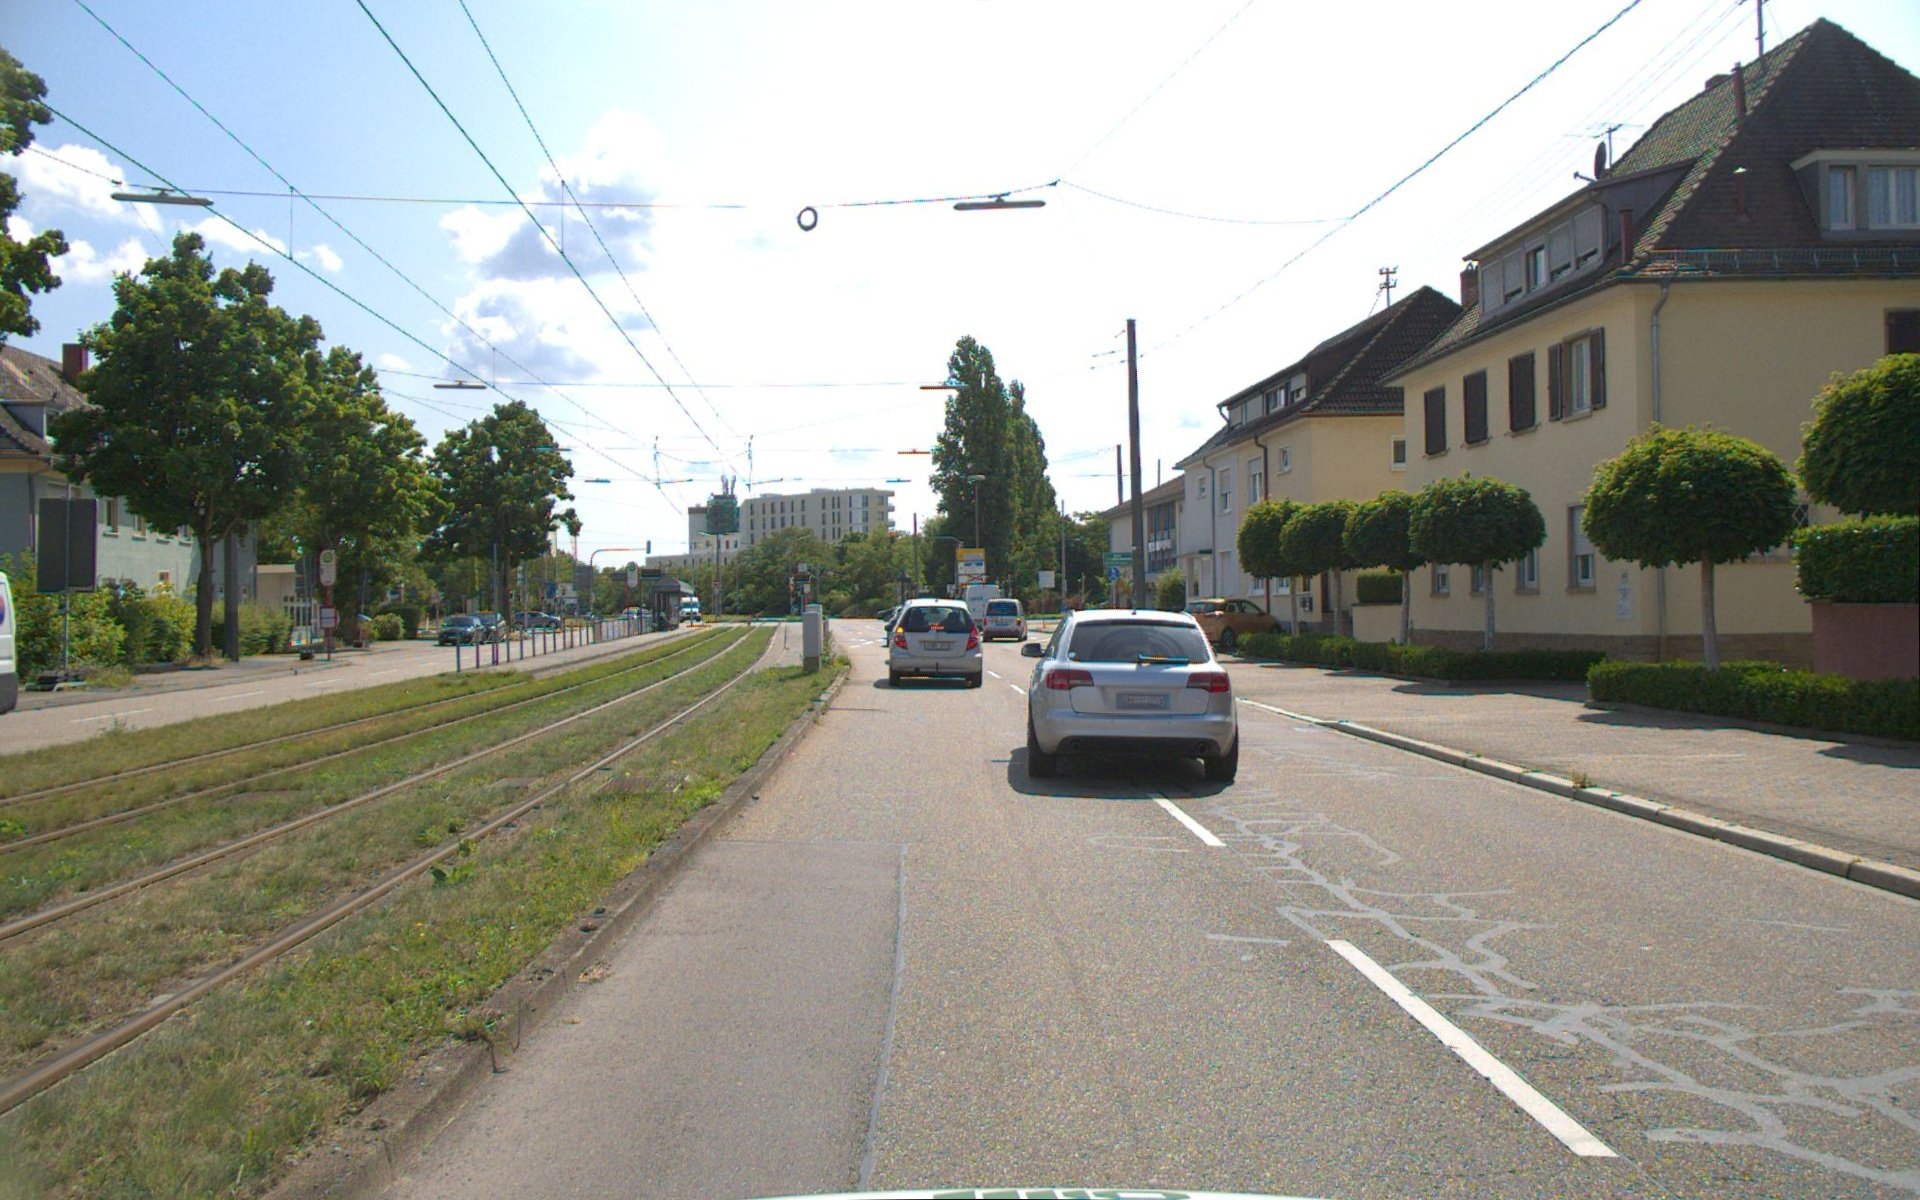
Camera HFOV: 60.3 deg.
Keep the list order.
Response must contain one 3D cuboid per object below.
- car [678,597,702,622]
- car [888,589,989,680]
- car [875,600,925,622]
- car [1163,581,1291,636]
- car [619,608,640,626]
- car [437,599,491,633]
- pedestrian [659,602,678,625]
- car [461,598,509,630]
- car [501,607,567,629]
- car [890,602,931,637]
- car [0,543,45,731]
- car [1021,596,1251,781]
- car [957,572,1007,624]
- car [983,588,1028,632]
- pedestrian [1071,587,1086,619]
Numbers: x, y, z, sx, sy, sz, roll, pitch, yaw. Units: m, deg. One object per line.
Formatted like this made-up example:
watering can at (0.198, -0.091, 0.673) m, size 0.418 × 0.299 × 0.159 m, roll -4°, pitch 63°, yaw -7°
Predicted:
car at (-28.509, 1.010, 174.422) m, size 1.960 × 2.651 × 4.859 m, roll 1°, pitch 0°, yaw -15°
car at (-0.469, 0.607, 31.706) m, size 1.751 × 1.604 × 4.092 m, roll 1°, pitch 0°, yaw -3°
car at (-5.253, 0.930, 143.641) m, size 4.266 × 1.769 × 1.999 m, roll 2°, pitch -1°, yaw -3°
car at (8.177, 0.220, 50.390) m, size 1.883 × 1.483 × 4.066 m, roll 0°, pitch 2°, yaw 44°
car at (-32.382, 1.679, 162.168) m, size 1.828 × 1.680 × 3.991 m, roll 1°, pitch 0°, yaw -10°
car at (-24.617, 0.758, 82.203) m, size 1.751 × 1.612 × 3.927 m, roll -1°, pitch 0°, yaw -4°
pedestrian at (-17.462, 0.805, 99.008) m, size 1.038 × 1.400 × 0.859 m, roll 1°, pitch -1°, yaw -6°
car at (-25.332, 0.728, 88.389) m, size 2.023 × 1.642 × 4.740 m, roll -1°, pitch 0°, yaw -11°
car at (-33.769, 1.394, 131.128) m, size 4.765 × 1.689 × 1.999 m, roll 1°, pitch 0°, yaw -3°
car at (-2.301, 0.899, 76.329) m, size 1.847 × 1.557 × 4.092 m, roll 1°, pitch 0°, yaw -2°
car at (-13.259, 0.503, 19.580) m, size 2.153 × 2.413 × 5.327 m, roll -2°, pitch 0°, yaw -5°
car at (1.534, 0.720, 15.894) m, size 1.816 × 1.518 × 4.536 m, roll 0°, pitch 0°, yaw 1°
car at (1.129, -0.100, 86.859) m, size 2.002 × 2.602 × 5.224 m, roll -1°, pitch 0°, yaw -6°
car at (1.976, 0.407, 70.984) m, size 1.846 × 1.761 × 4.096 m, roll -1°, pitch 0°, yaw 3°
pedestrian at (6.936, 0.187, 97.103) m, size 0.707 × 1.813 × 0.702 m, roll -3°, pitch 0°, yaw -4°
